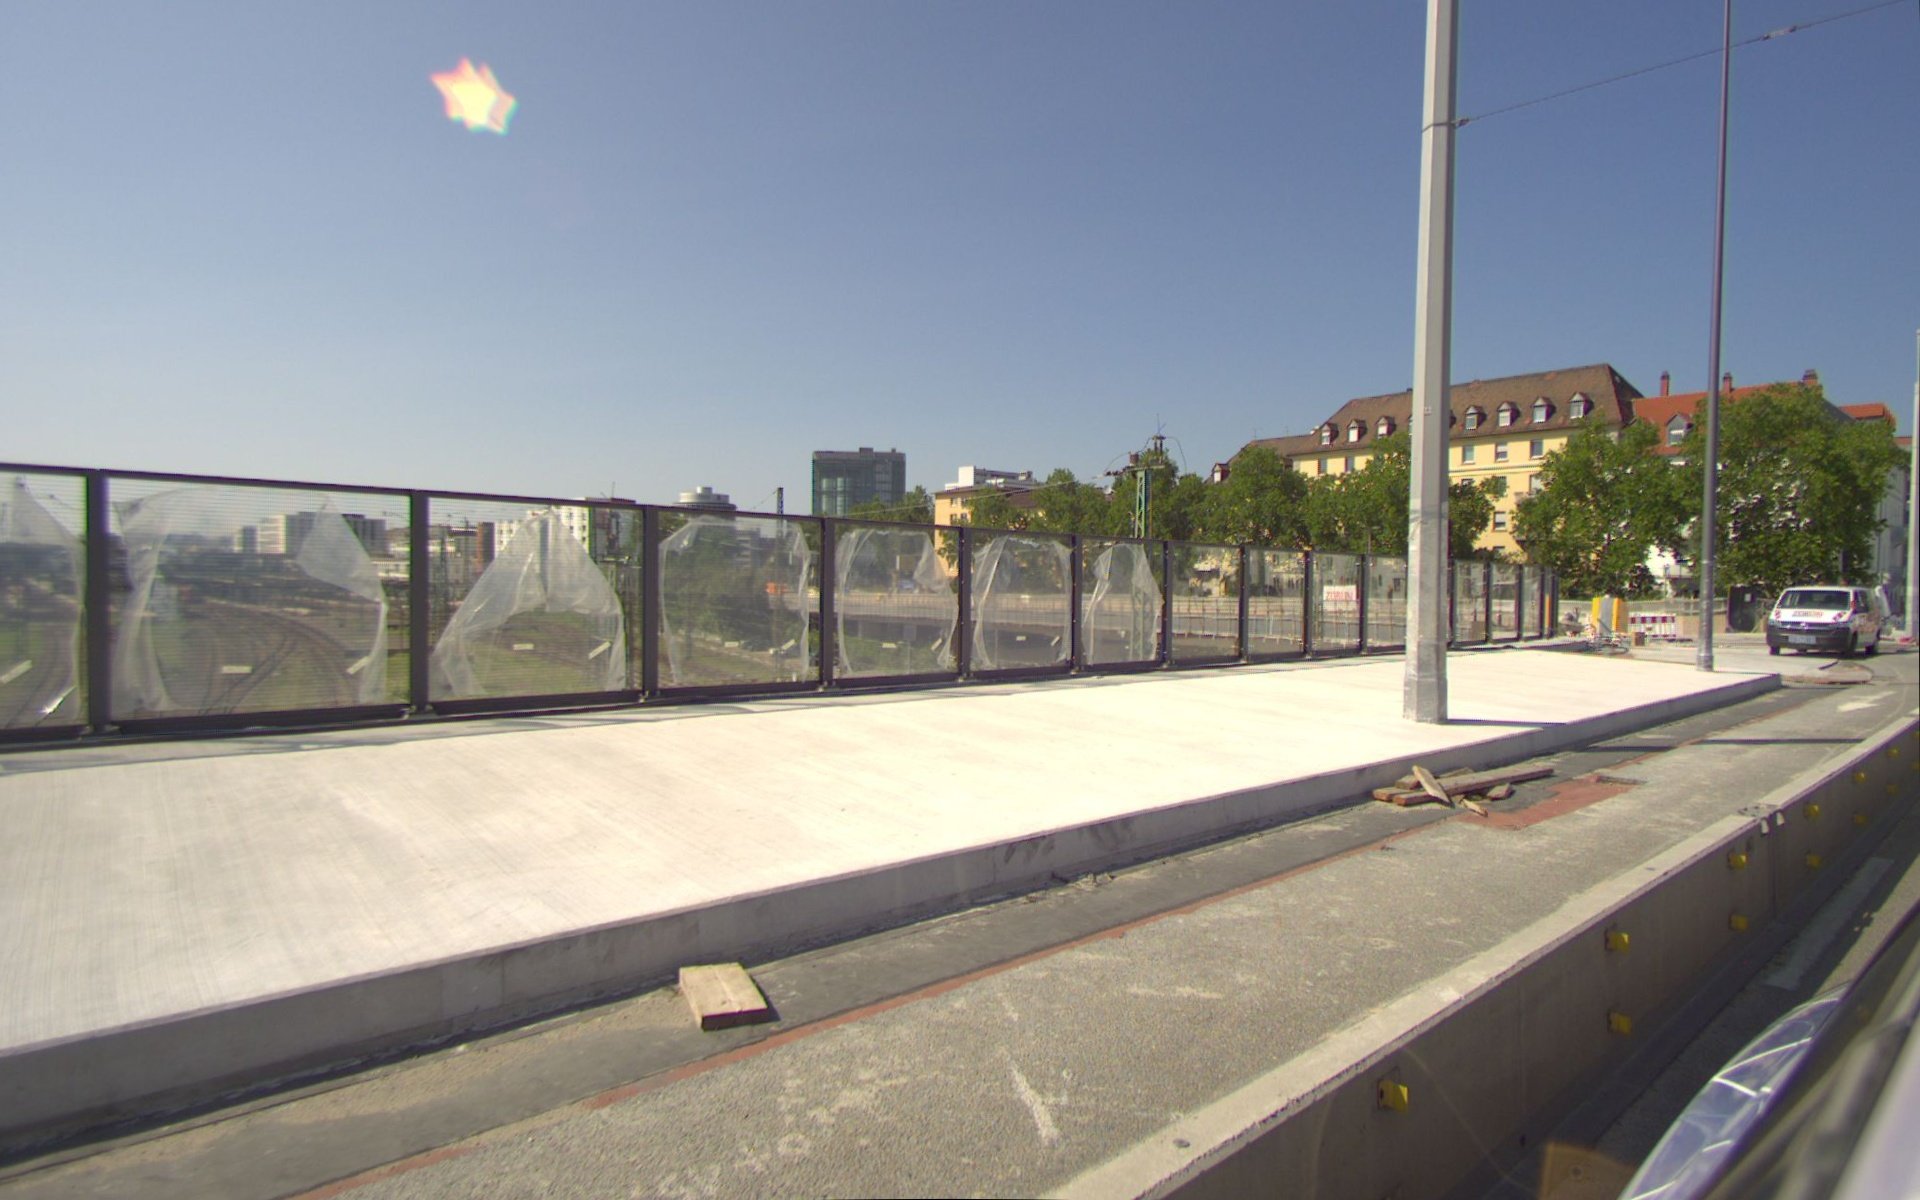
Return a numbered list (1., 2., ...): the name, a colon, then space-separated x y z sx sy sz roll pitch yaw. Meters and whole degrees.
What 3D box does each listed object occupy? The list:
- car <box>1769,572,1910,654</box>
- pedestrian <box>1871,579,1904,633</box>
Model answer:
1. car: 25.305 0.345 29.025 6.352 2.116 1.938 1 1 -39
2. pedestrian: 35.361 0.213 38.594 0.828 2.009 0.761 -1 3 -40
